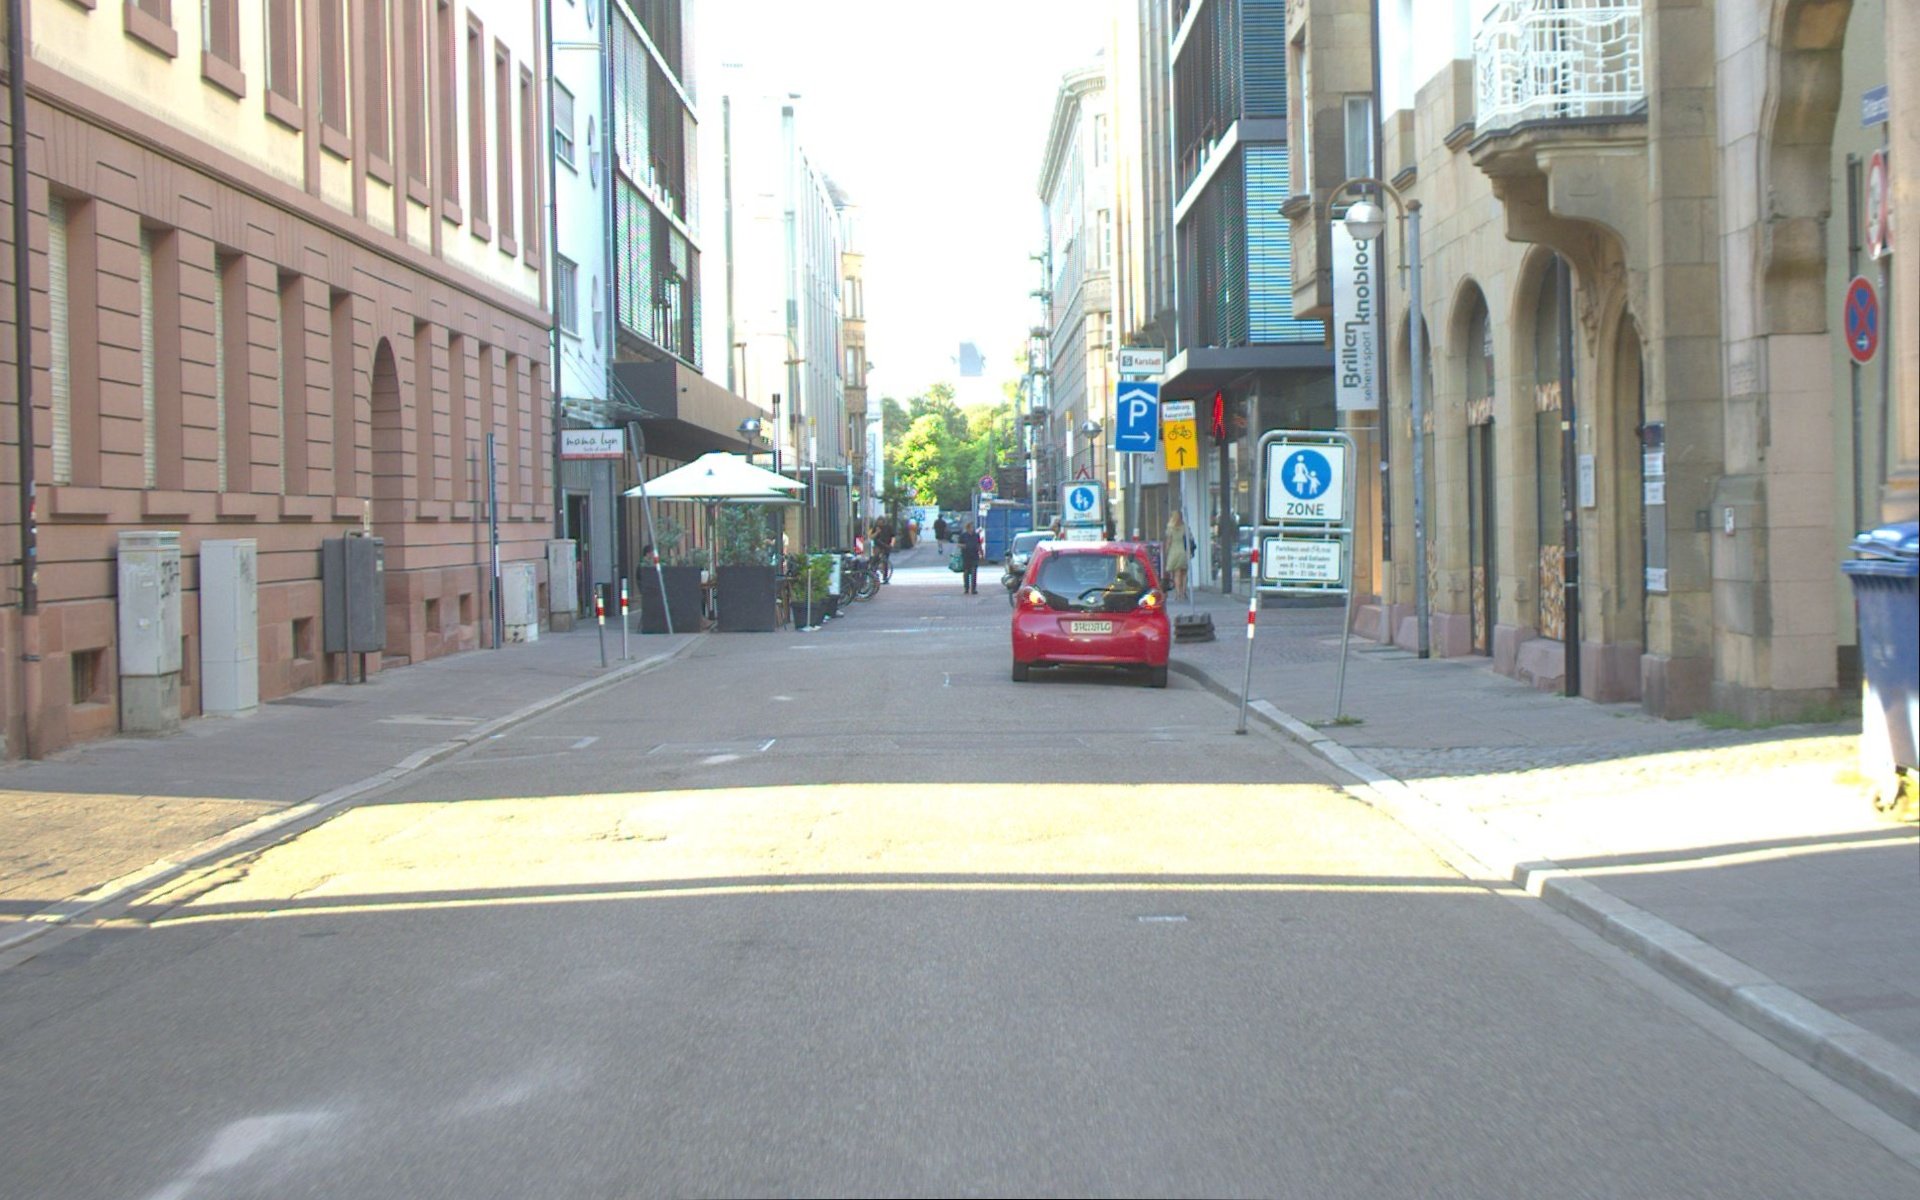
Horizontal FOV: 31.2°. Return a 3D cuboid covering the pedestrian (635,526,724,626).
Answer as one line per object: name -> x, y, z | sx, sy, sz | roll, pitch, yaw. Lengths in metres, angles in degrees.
pedestrian -> -4.235, -0.360, 51.984 | 1.290, 1.482, 0.661 | -1, 1, -2

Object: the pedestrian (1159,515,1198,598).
pedestrian -> 3.911, -0.779, 61.544 | 0.656, 1.482, 0.493 | -1, 1, 2

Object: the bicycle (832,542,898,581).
bicycle -> -2.296, -0.932, 83.161 | 1.518, 0.893, 0.485 | -2, 1, -27

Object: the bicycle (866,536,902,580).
bicycle -> -2.072, -1.153, 93.234 | 0.636, 1.153, 2.502 | -1, 1, -9

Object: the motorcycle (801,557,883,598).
motorcycle -> -2.614, -0.509, 76.066 | 1.801, 0.872, 0.560 | -1, 1, -4

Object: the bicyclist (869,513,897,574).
bicyclist -> -2.092, -1.527, 93.324 | 0.636, 1.635, 0.772 | -1, 1, -9

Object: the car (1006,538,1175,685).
car -> 1.327, 0.083, 36.193 | 1.649, 1.422, 3.535 | 2, 1, 1

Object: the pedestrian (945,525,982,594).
pedestrian -> 0.085, -1.014, 85.669 | 0.865, 1.707, 0.852 | -1, 1, -1

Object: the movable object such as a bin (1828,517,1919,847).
movable object such as a bin -> 4.516, 0.324, 15.221 | 0.990, 1.387, 1.241 | -2, 1, 0

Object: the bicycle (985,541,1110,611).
bicycle -> 1.469, -0.408, 58.015 | 2.052, 1.130, 0.649 | -1, 1, -3

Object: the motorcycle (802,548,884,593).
motorcycle -> -2.621, -0.665, 77.098 | 1.801, 0.986, 0.560 | -1, 1, -4

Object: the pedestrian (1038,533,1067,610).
pedestrian -> 1.973, -0.612, 73.388 | 0.465, 1.614, 0.635 | -1, 1, -11

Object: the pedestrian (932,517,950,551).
pedestrian -> -0.934, -3.307, 171.579 | 0.804, 1.667, 0.888 | -1, 1, 2

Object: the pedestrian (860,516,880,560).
pedestrian -> -3.312, -2.280, 126.942 | 0.678, 1.617, 0.625 | -1, 1, 2

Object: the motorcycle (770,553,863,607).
motorcycle -> -2.842, -0.400, 67.891 | 1.801, 1.037, 0.494 | -1, 1, -4

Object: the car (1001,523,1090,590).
car -> 2.085, -1.094, 85.265 | 1.993, 1.605, 4.000 | -1, 1, -1

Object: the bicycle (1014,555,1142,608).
bicycle -> 2.083, -0.331, 60.738 | 2.200, 0.902, 0.649 | -1, 1, -3
